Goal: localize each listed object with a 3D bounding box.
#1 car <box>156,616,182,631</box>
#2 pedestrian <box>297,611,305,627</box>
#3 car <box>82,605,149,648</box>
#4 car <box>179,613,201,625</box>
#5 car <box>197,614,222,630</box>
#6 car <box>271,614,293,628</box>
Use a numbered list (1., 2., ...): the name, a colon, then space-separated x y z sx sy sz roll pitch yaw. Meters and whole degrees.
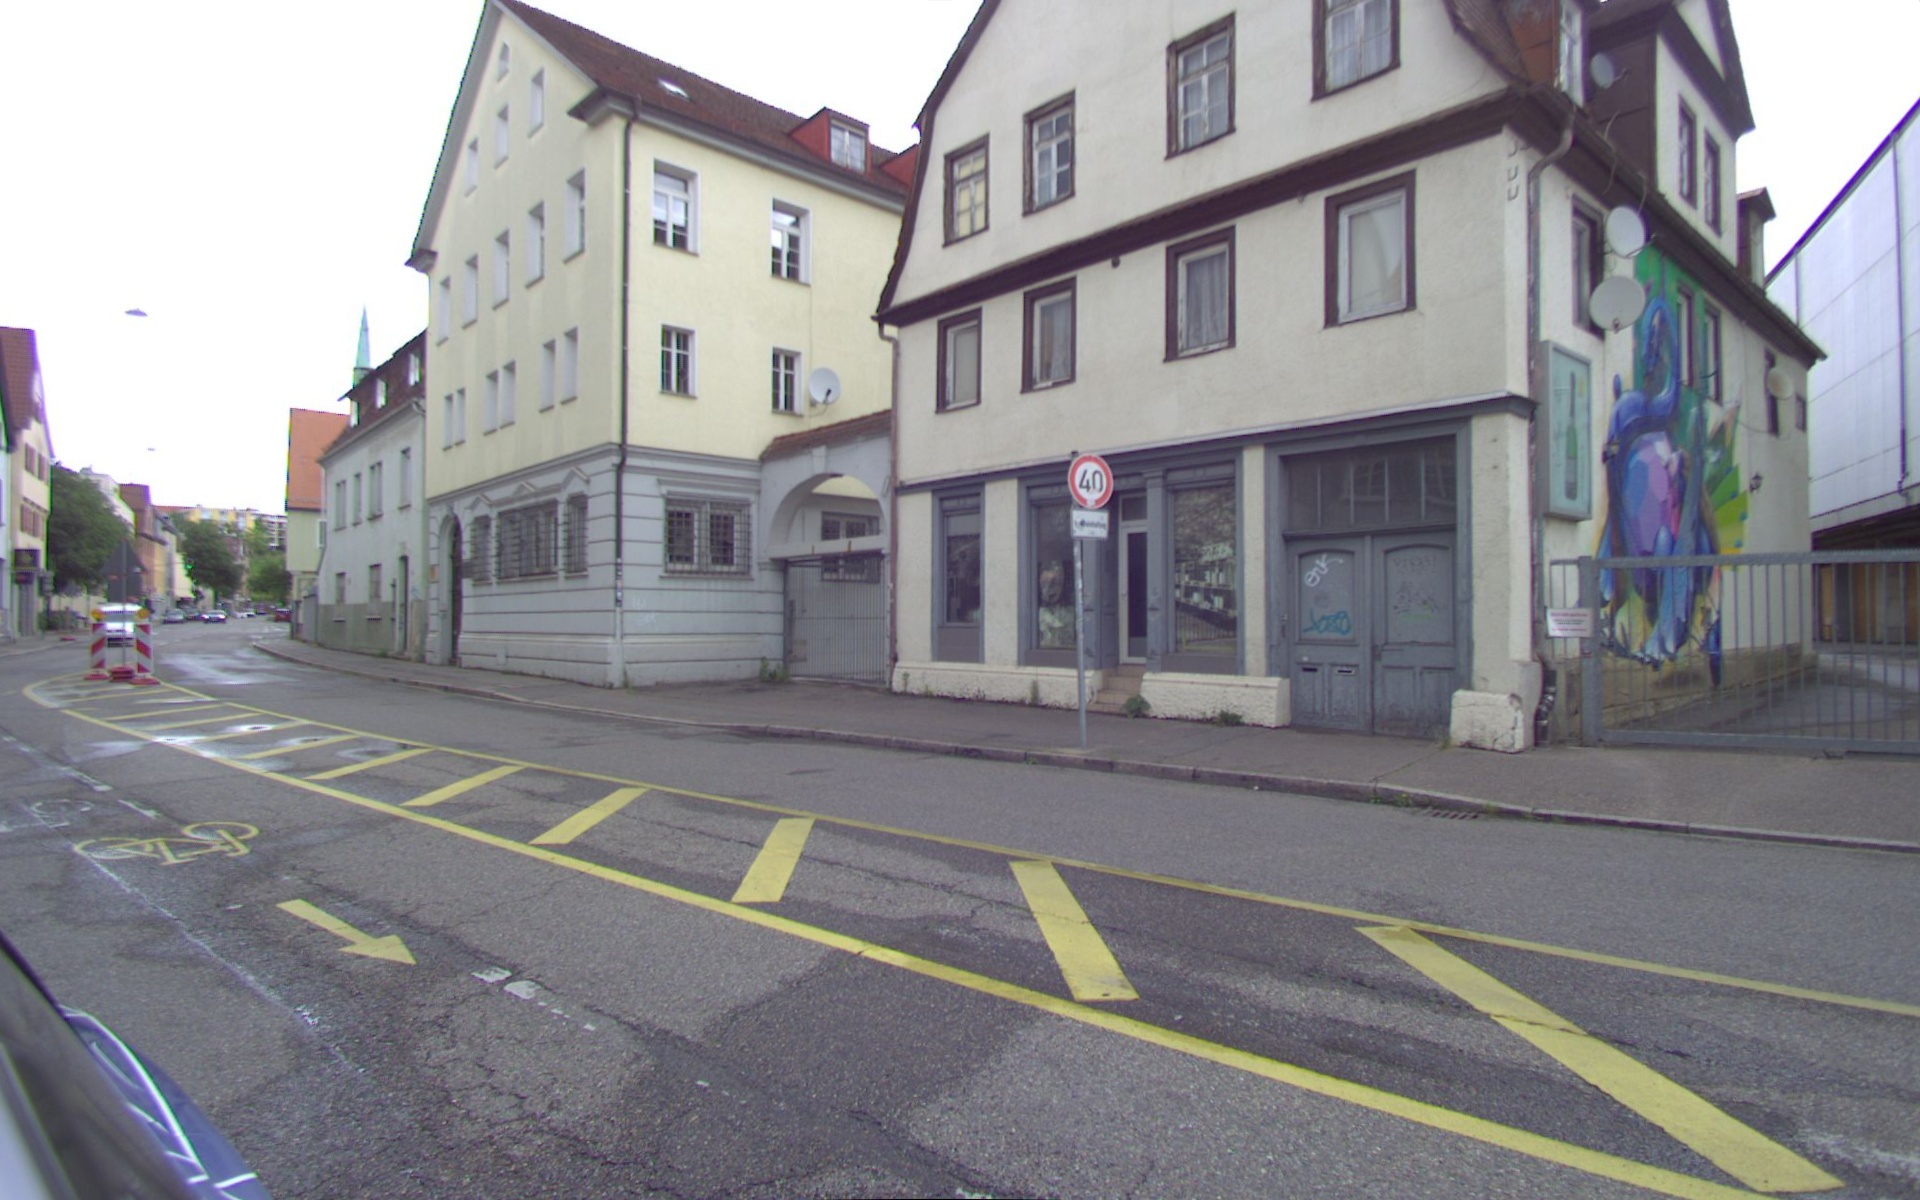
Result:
1. car: -85.084 2.482 108.907 2.001 1.567 4.010 2 -2 -35
2. pedestrian: -85.526 2.490 131.358 0.823 2.029 0.847 1 -2 -36
3. car: -37.063 1.125 44.514 1.967 1.800 4.477 1 -1 -37
4. car: -96.724 2.371 127.105 1.792 1.399 4.011 2 -2 -32
5. car: -80.549 2.336 108.687 1.967 1.691 4.010 0 0 -34
6. car: -86.012 2.632 128.336 2.178 1.690 4.509 2 -2 -36
